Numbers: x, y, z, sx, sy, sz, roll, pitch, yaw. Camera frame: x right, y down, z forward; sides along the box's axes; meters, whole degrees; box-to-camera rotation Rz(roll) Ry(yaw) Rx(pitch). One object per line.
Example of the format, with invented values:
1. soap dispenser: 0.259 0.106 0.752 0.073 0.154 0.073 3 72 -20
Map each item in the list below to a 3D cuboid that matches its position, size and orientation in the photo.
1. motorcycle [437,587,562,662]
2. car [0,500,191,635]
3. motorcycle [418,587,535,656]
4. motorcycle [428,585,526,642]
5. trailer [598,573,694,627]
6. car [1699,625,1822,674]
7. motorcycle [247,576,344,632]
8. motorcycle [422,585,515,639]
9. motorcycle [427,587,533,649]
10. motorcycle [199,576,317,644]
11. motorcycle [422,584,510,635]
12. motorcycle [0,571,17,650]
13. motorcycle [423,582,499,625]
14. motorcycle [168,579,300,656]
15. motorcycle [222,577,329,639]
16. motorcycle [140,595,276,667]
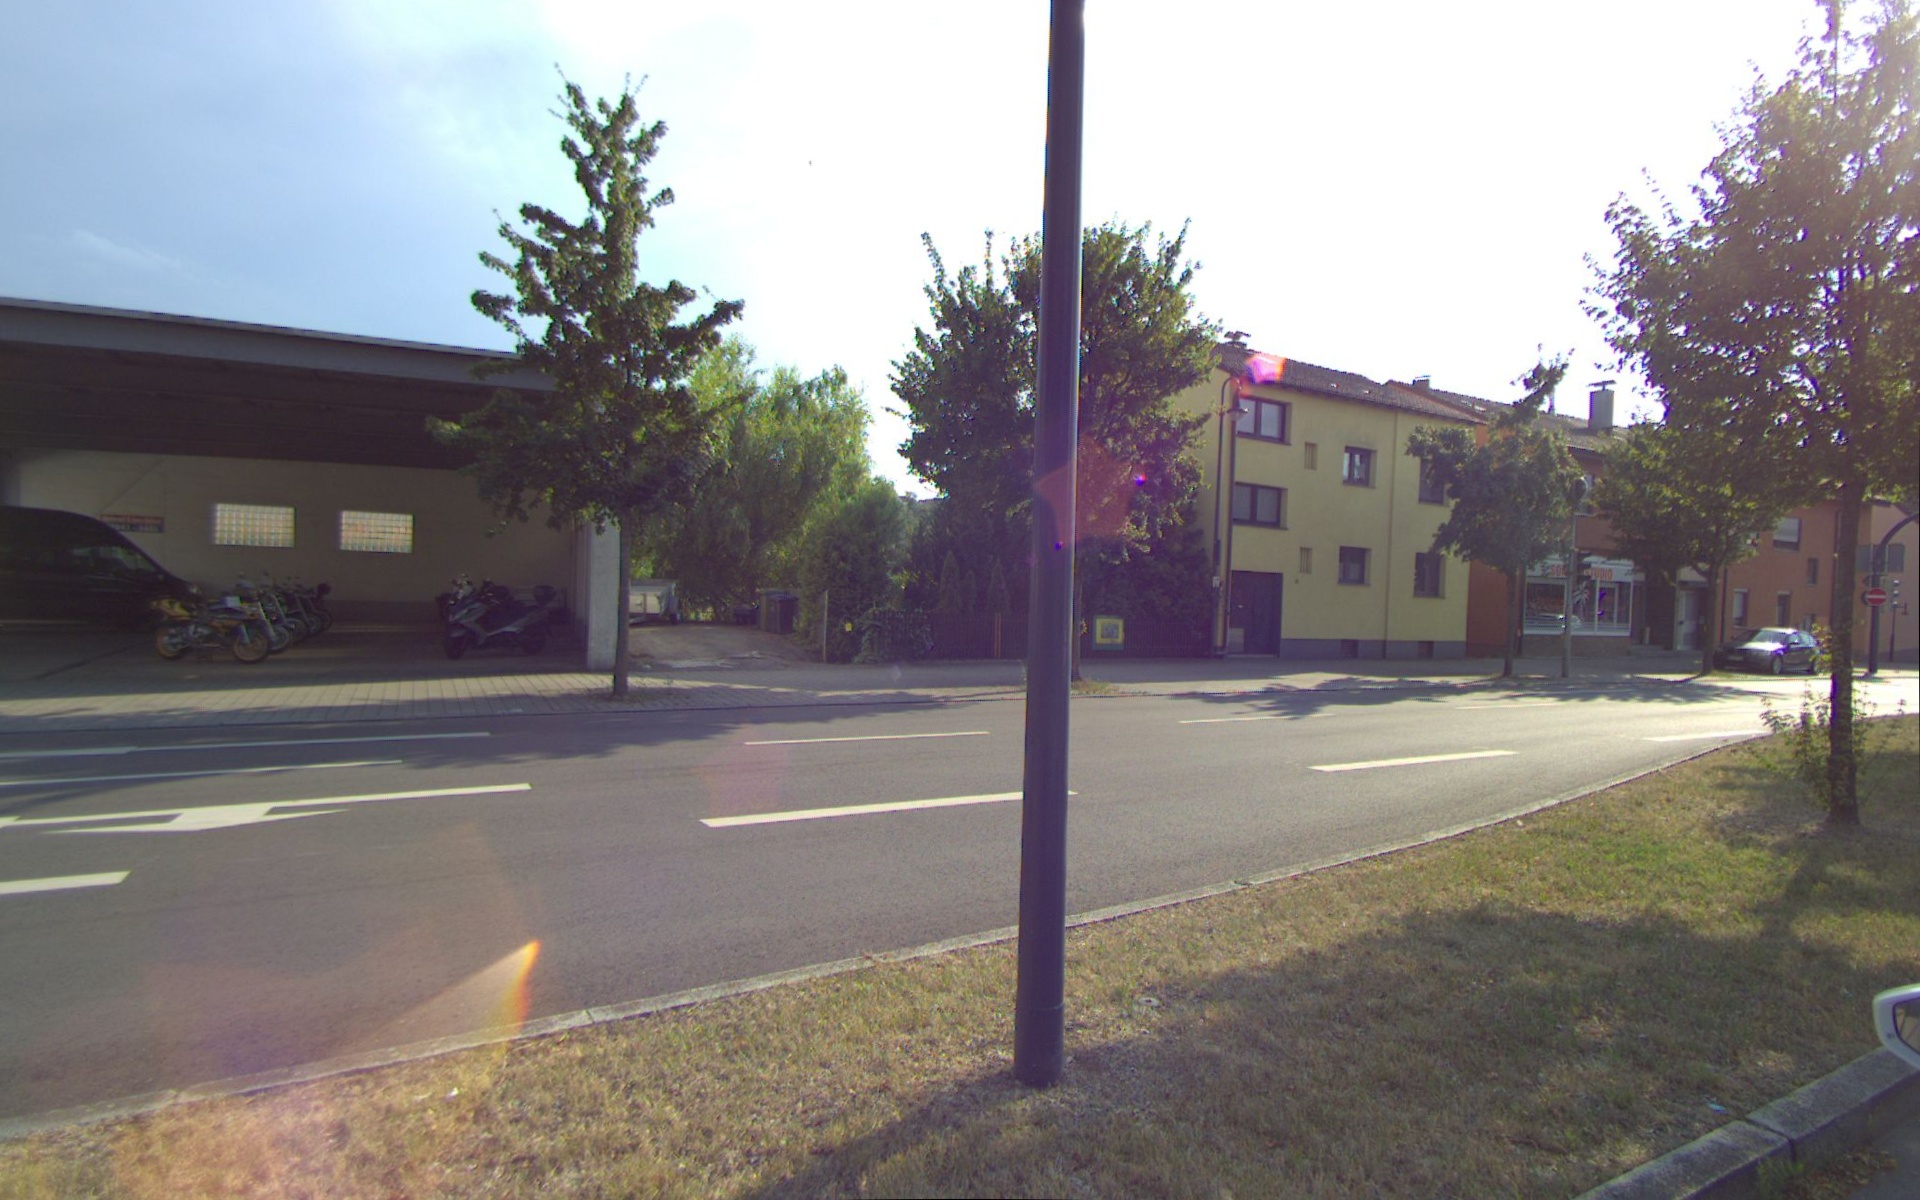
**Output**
1. motorcycle: -8.617 0.426 18.899 0.621 1.314 2.113 1 2 36
2. car: -20.451 -0.687 22.093 1.962 2.789 5.280 1 0 26
3. motorcycle: -9.810 0.398 20.461 0.621 1.314 2.113 1 2 36
4. motorcycle: -11.765 0.307 24.540 0.621 1.314 2.113 1 2 36
5. trailer: -8.216 -0.011 26.620 1.698 1.280 3.995 1 0 -7
6. car: 25.970 1.594 32.558 3.953 1.319 1.728 1 4 -30
7. motorcycle: -16.907 0.097 25.575 2.219 1.354 0.631 1 0 10
8. motorcycle: -12.647 0.287 25.922 0.621 1.314 2.113 1 2 36
9. motorcycle: -10.740 0.380 22.539 0.621 1.314 2.113 1 2 36
10. motorcycle: -14.751 0.200 21.107 2.219 1.354 0.631 1 0 10
11. motorcycle: -13.511 0.235 27.520 0.621 1.314 2.113 1 2 36
12. motorcycle: -17.285 0.165 16.726 0.619 1.380 2.225 1 0 24
13. motorcycle: -15.958 0.095 32.179 0.621 1.314 2.113 1 2 36
14. motorcycle: -13.630 0.315 18.864 2.219 1.354 0.631 1 0 10
15. motorcycle: -15.883 0.177 23.316 2.219 1.354 0.631 1 0 10
16. motorcycle: -12.495 0.500 16.699 1.993 1.101 0.631 1 0 12
